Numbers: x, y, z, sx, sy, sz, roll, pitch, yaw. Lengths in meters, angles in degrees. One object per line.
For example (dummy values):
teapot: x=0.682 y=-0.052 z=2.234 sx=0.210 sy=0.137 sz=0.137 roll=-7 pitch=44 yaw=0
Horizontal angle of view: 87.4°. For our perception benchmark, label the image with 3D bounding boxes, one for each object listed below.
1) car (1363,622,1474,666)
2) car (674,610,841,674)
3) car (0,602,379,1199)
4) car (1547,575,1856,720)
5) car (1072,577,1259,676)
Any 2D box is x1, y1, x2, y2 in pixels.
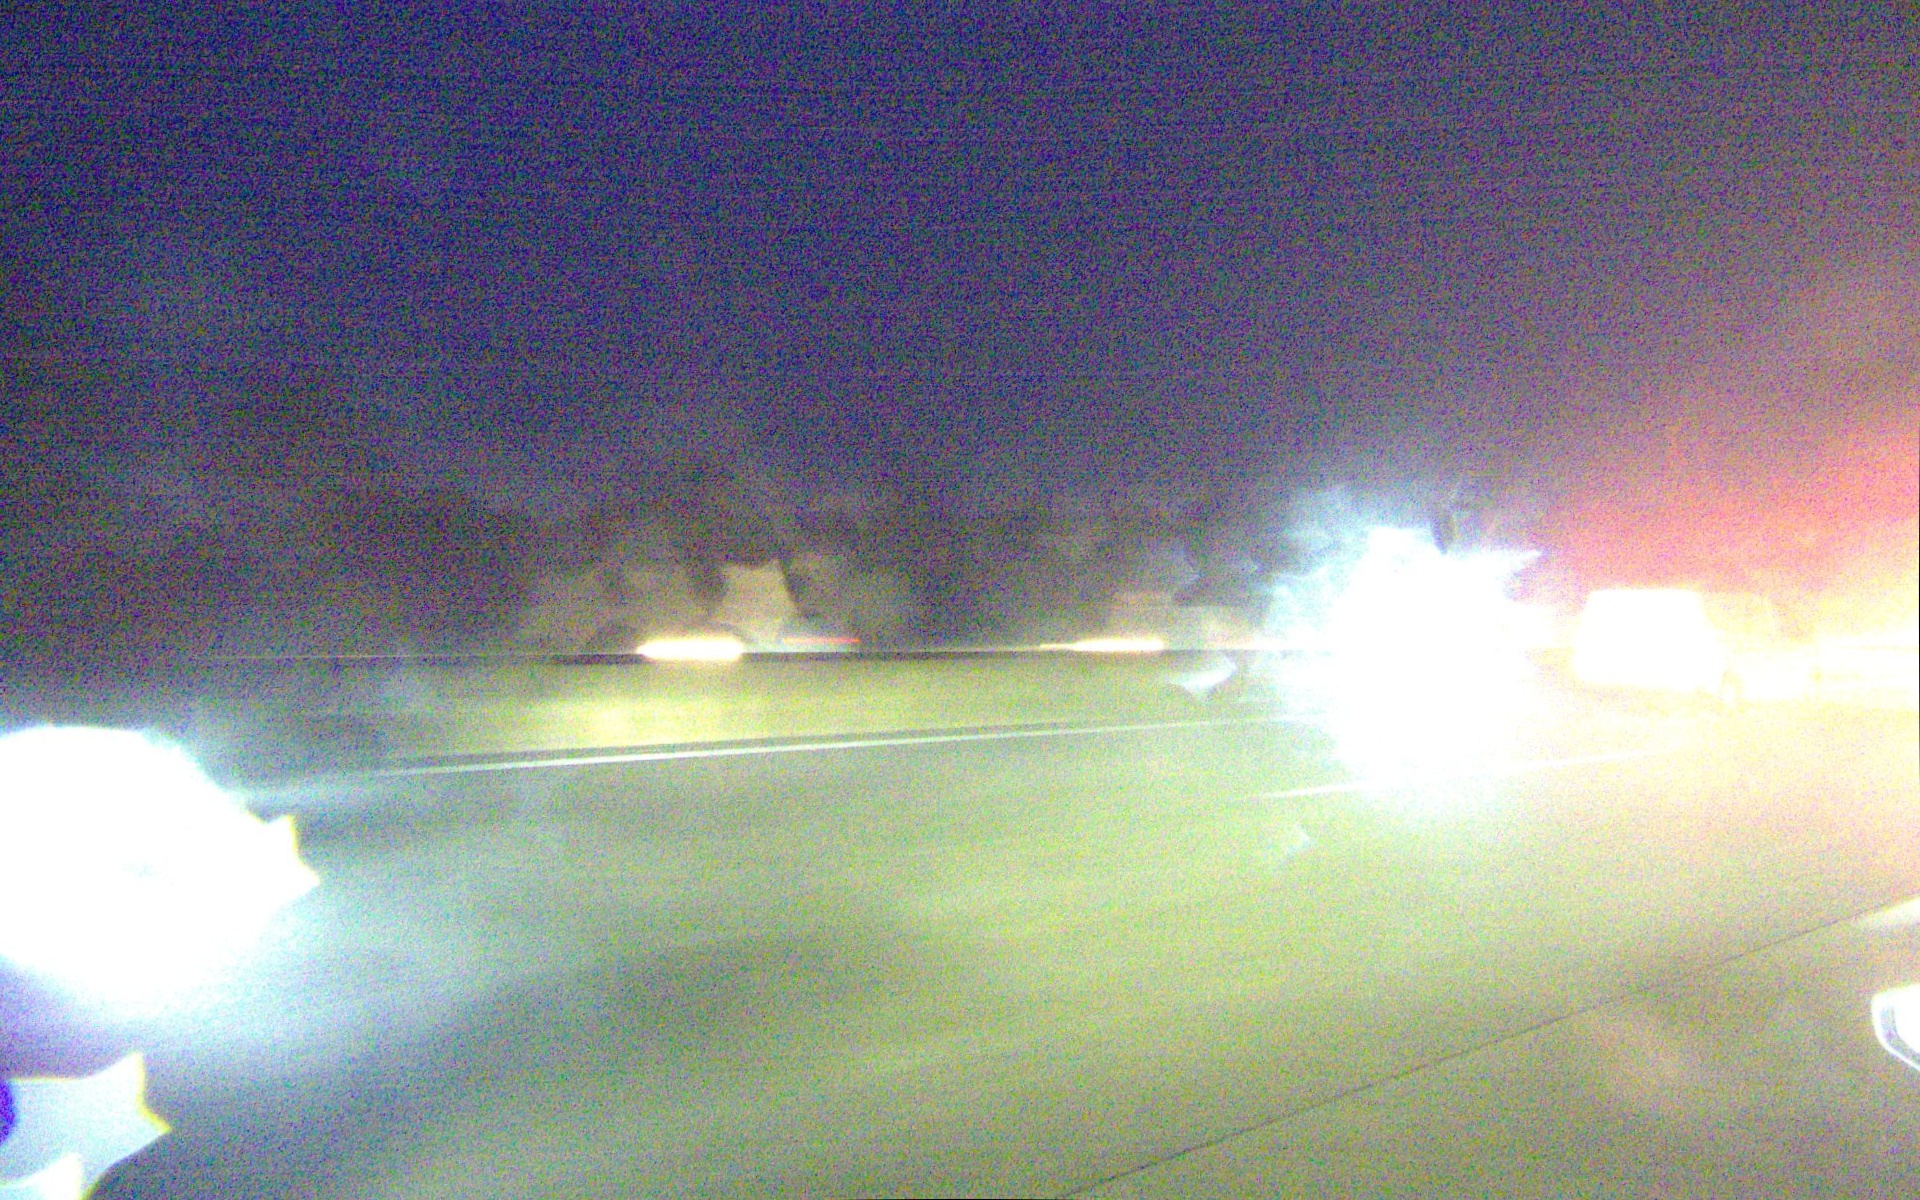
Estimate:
car: x=17.707 y=1.683 z=38.754 sx=4.300 sy=1.538 sz=1.796 roll=2 pitch=0 yaw=-32
car: x=-5.857 y=1.208 z=29.209 sx=4.494 sy=1.707 sz=1.586 roll=2 pitch=0 yaw=-30
car: x=-3.631 y=0.719 z=2.060 sx=4.198 sy=1.450 sz=1.648 roll=1 pitch=0 yaw=-31
car: x=12.662 y=0.752 z=17.061 sx=5.561 sy=2.132 sz=2.114 roll=1 pitch=0 yaw=-29
car: x=5.528 y=0.710 z=26.794 sx=4.789 sy=2.433 sz=1.960 roll=2 pitch=0 yaw=-31
